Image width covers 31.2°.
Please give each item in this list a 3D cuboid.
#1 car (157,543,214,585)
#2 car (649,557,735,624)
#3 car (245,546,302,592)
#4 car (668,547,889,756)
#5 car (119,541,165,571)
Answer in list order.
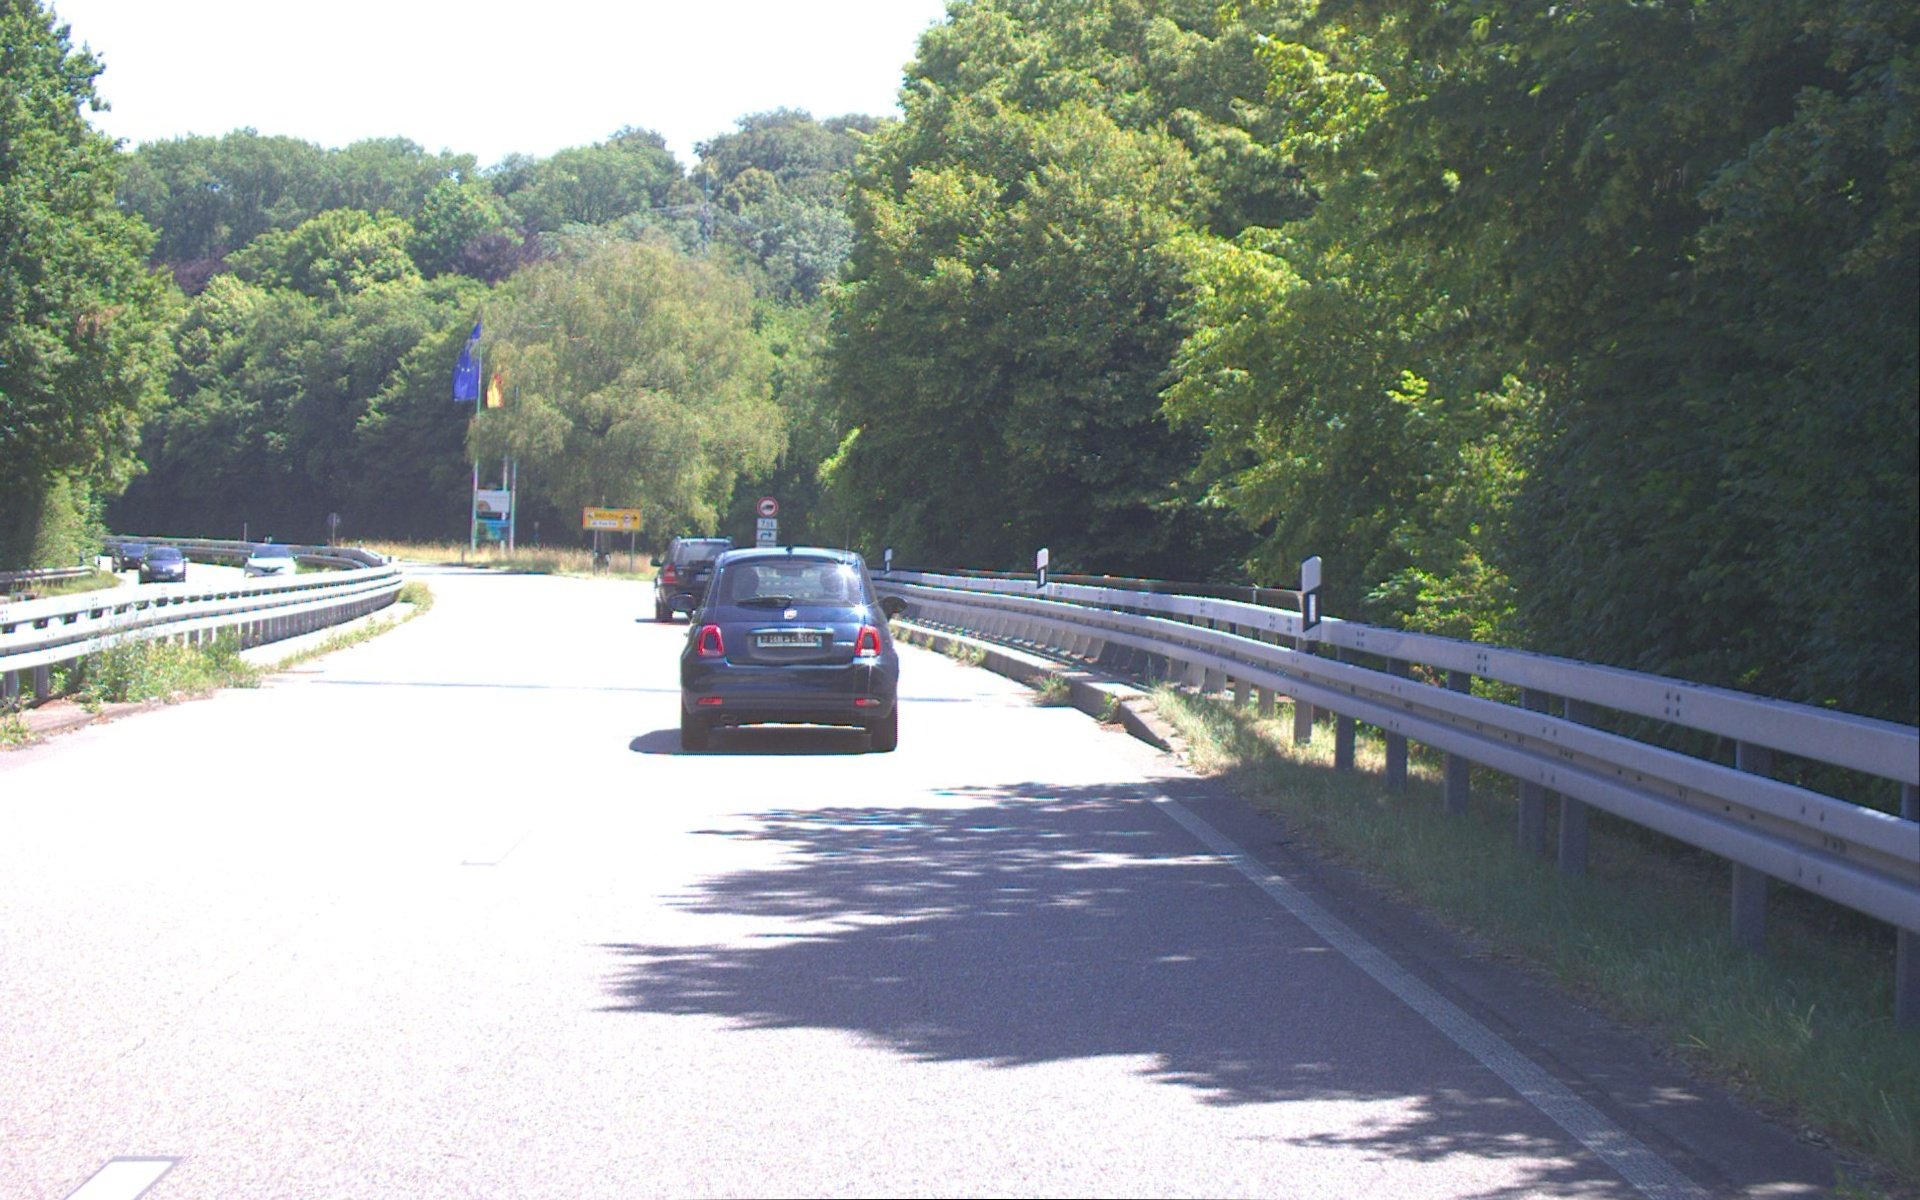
[{"bbox_3d":[-28.572,-1.336,126.969,1.651,1.523,3.999,0,1,-7],"label":"car"},{"bbox_3d":[-5.412,-0.201,69.122,1.525,1.309,3.416,0,1,-8],"label":"car"},{"bbox_3d":[-24.243,-1.107,121.480,1.651,1.601,4.220,0,1,-7],"label":"car"},{"bbox_3d":[-1.339,0.342,26.435,1.513,1.496,3.590,0,1,0],"label":"car"},{"bbox_3d":[-41.390,-2.242,173.997,1.755,1.523,4.685,0,1,-7],"label":"car"}]
